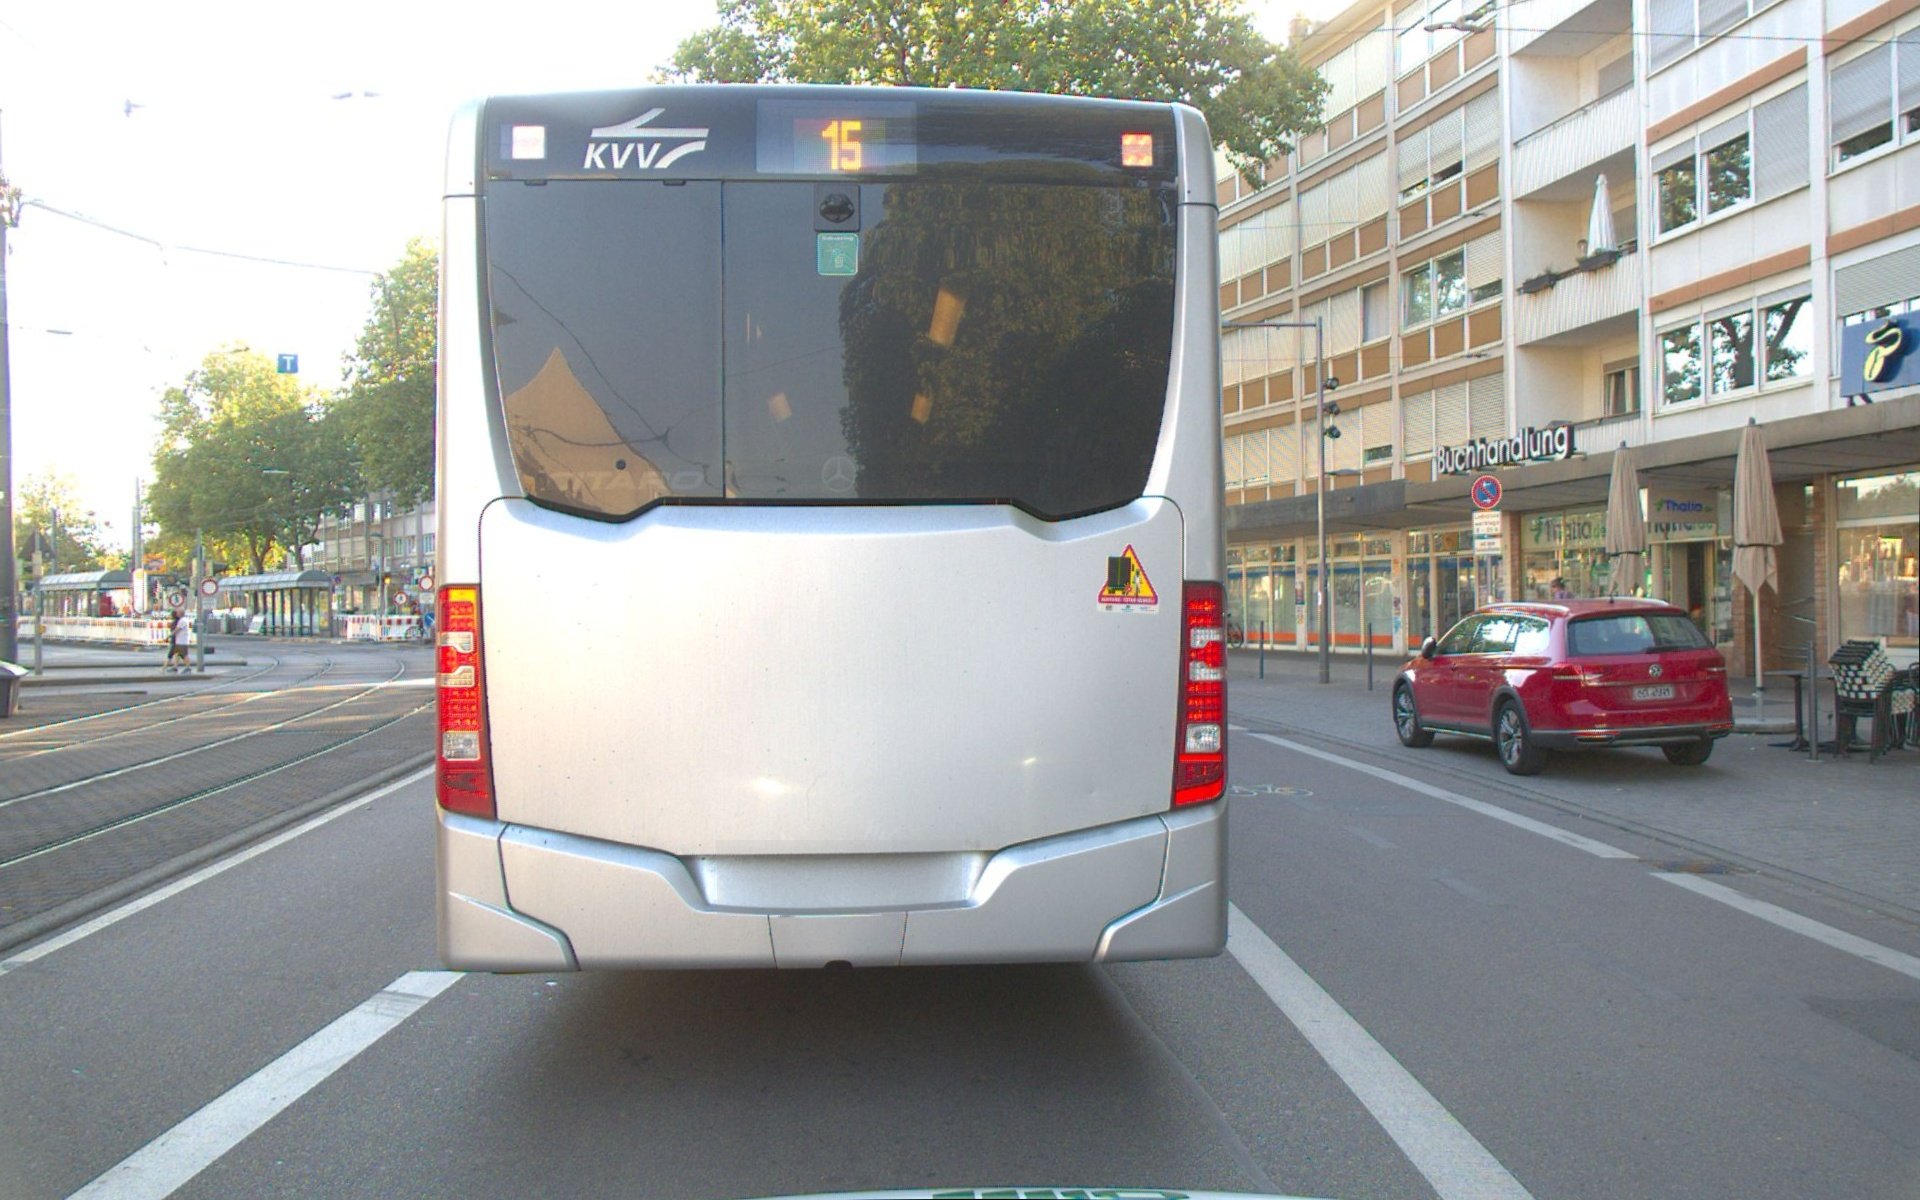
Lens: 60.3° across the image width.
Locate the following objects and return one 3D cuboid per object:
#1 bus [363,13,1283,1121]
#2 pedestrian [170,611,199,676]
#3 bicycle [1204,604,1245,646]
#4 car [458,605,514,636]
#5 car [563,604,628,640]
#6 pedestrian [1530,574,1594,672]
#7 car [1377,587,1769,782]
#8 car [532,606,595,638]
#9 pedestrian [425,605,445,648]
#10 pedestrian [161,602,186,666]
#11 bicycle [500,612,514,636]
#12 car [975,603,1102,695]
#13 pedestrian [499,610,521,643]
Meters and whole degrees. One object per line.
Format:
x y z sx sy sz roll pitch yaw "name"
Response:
-0.607 -0.084 9.877 2.605 3.153 10.210 -1 0 -3 "bus"
-18.601 1.030 39.686 0.511 1.530 0.591 -1 0 -15 "pedestrian"
7.273 0.690 45.536 0.431 1.111 1.453 -3 1 -20 "bicycle"
-25.112 1.096 87.624 1.651 1.494 3.365 -5 3 -38 "car"
-17.048 1.015 77.346 1.650 1.542 3.367 -5 3 -37 "car"
9.936 0.368 27.300 0.629 1.579 0.804 -1 0 -15 "pedestrian"
5.684 0.702 16.044 1.744 1.522 4.563 -3 0 -5 "car"
-19.337 1.073 80.654 1.652 1.419 3.364 -5 3 -39 "car"
-21.396 1.078 67.440 0.707 1.755 0.398 -1 0 -10 "pedestrian"
-19.089 0.812 40.140 0.401 1.530 0.516 -1 0 -10 "pedestrian"
-23.169 1.213 84.554 0.500 1.232 2.079 -1 0 -21 "bicycle"
1.297 0.805 29.020 1.768 1.499 4.068 0 0 -4 "car"
-18.190 1.071 66.832 0.766 1.326 0.590 -1 0 -22 "pedestrian"
